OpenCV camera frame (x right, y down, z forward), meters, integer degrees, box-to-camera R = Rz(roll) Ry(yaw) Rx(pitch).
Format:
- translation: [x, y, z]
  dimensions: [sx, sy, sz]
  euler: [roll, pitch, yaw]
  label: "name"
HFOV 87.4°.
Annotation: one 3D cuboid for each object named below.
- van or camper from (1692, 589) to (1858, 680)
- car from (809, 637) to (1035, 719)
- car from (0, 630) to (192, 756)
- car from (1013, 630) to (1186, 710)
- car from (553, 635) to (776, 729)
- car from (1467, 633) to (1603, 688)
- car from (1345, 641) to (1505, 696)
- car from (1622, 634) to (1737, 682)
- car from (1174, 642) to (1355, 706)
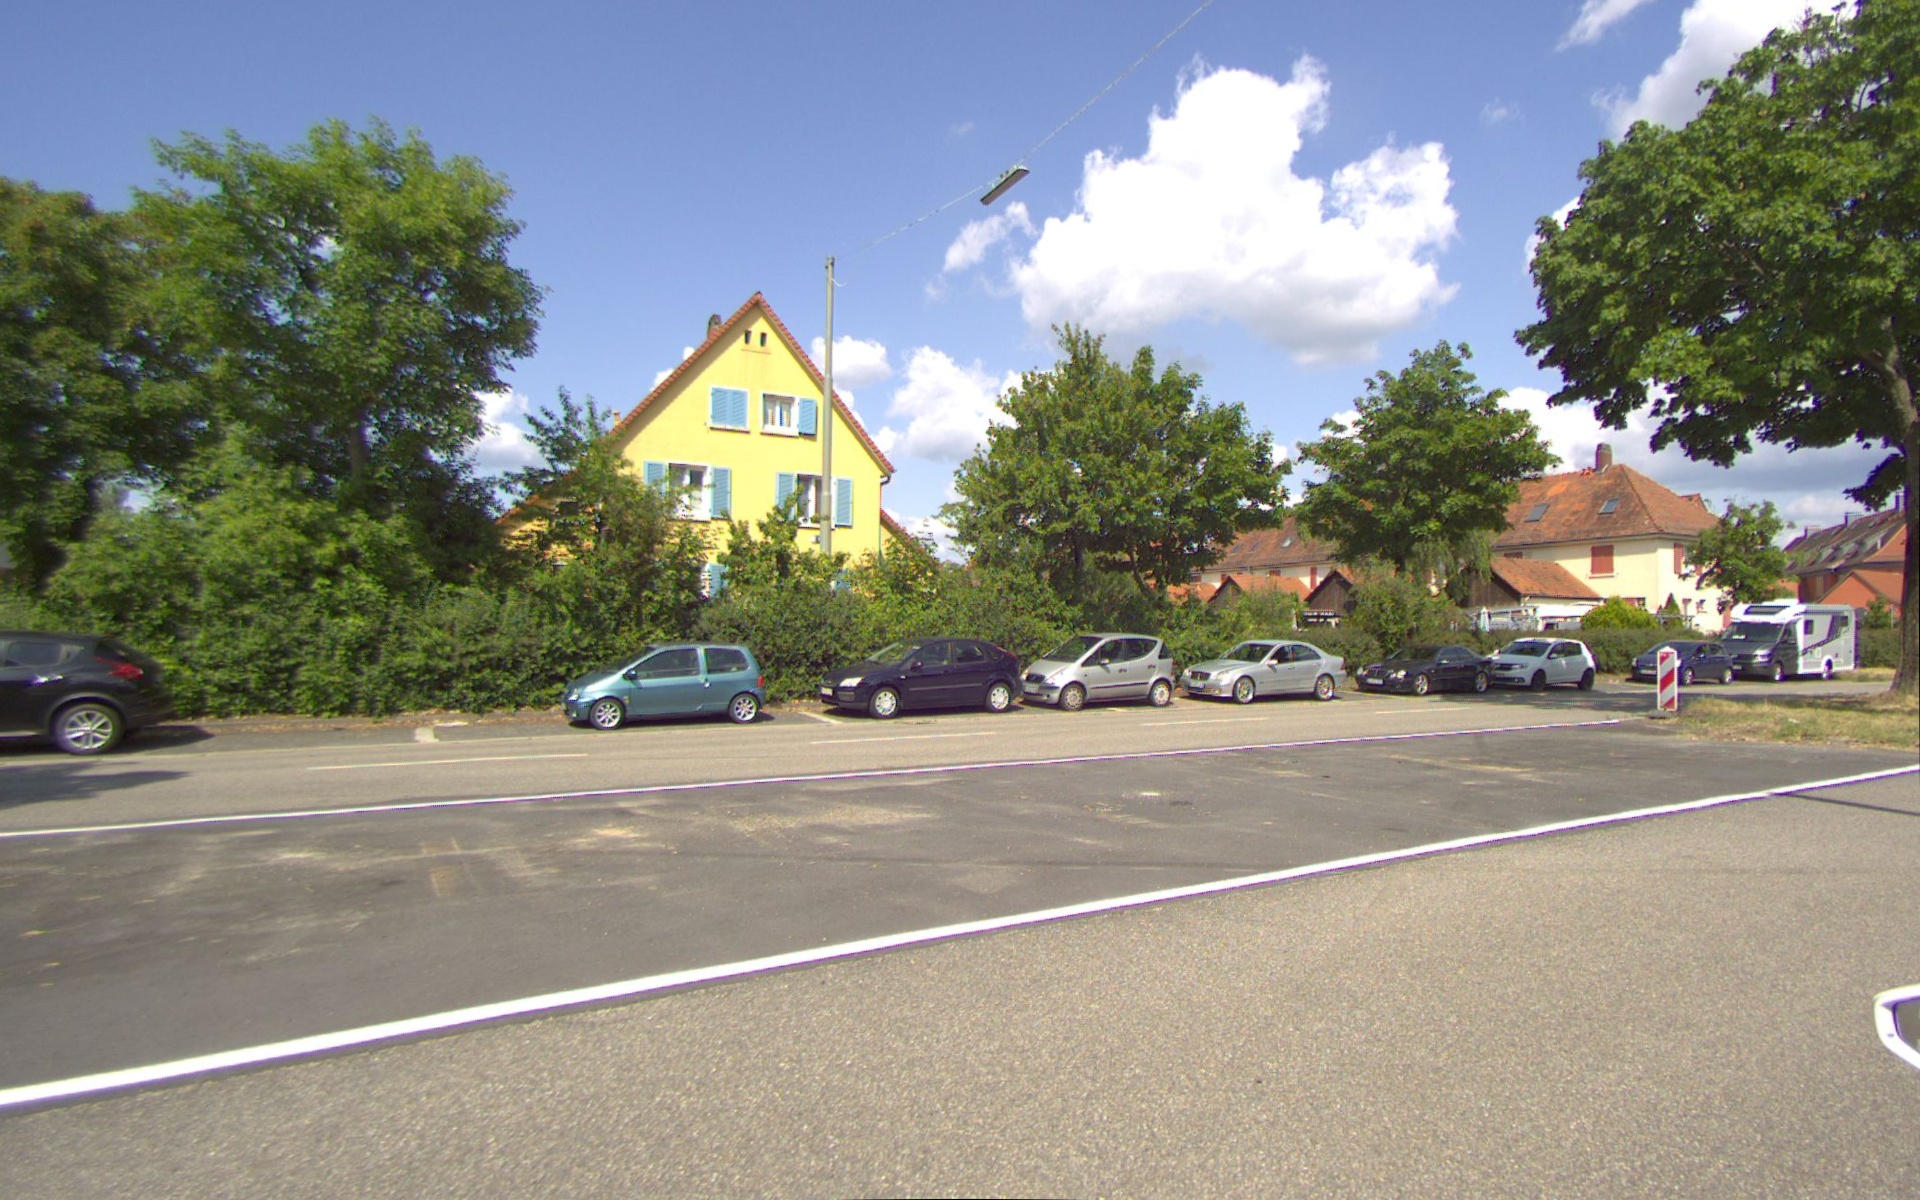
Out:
- translation: [30.898, 1.250, 38.005]
  dimensions: [7.229, 3.154, 2.249]
  euler: [1, 1, -29]
  label: "van or camper"
- translation: [-0.701, 1.475, 19.883]
  dimensions: [4.306, 1.413, 1.396]
  euler: [1, 0, -30]
  label: "car"
- translation: [-12.606, 1.171, 12.982]
  dimensions: [4.056, 1.501, 1.652]
  euler: [1, 1, -31]
  label: "car"
- translation: [3.106, 1.500, 22.181]
  dimensions: [3.698, 1.578, 1.396]
  euler: [2, 0, -30]
  label: "car"
- translation: [-5.125, 1.380, 17.498]
  dimensions: [3.437, 1.413, 1.555]
  euler: [2, 0, -30]
  label: "car"
- translation: [17.443, 1.834, 30.433]
  dimensions: [4.073, 1.505, 1.682]
  euler: [2, 0, -29]
  label: "car"
- translation: [12.897, 1.854, 27.813]
  dimensions: [4.527, 1.324, 1.629]
  euler: [1, 0, -29]
  label: "car"
- translation: [24.627, 1.986, 34.377]
  dimensions: [3.943, 1.505, 1.629]
  euler: [2, 0, -29]
  label: "car"
- translation: [7.462, 1.747, 24.488]
  dimensions: [4.475, 1.388, 1.504]
  euler: [1, 0, -29]
  label: "car"
